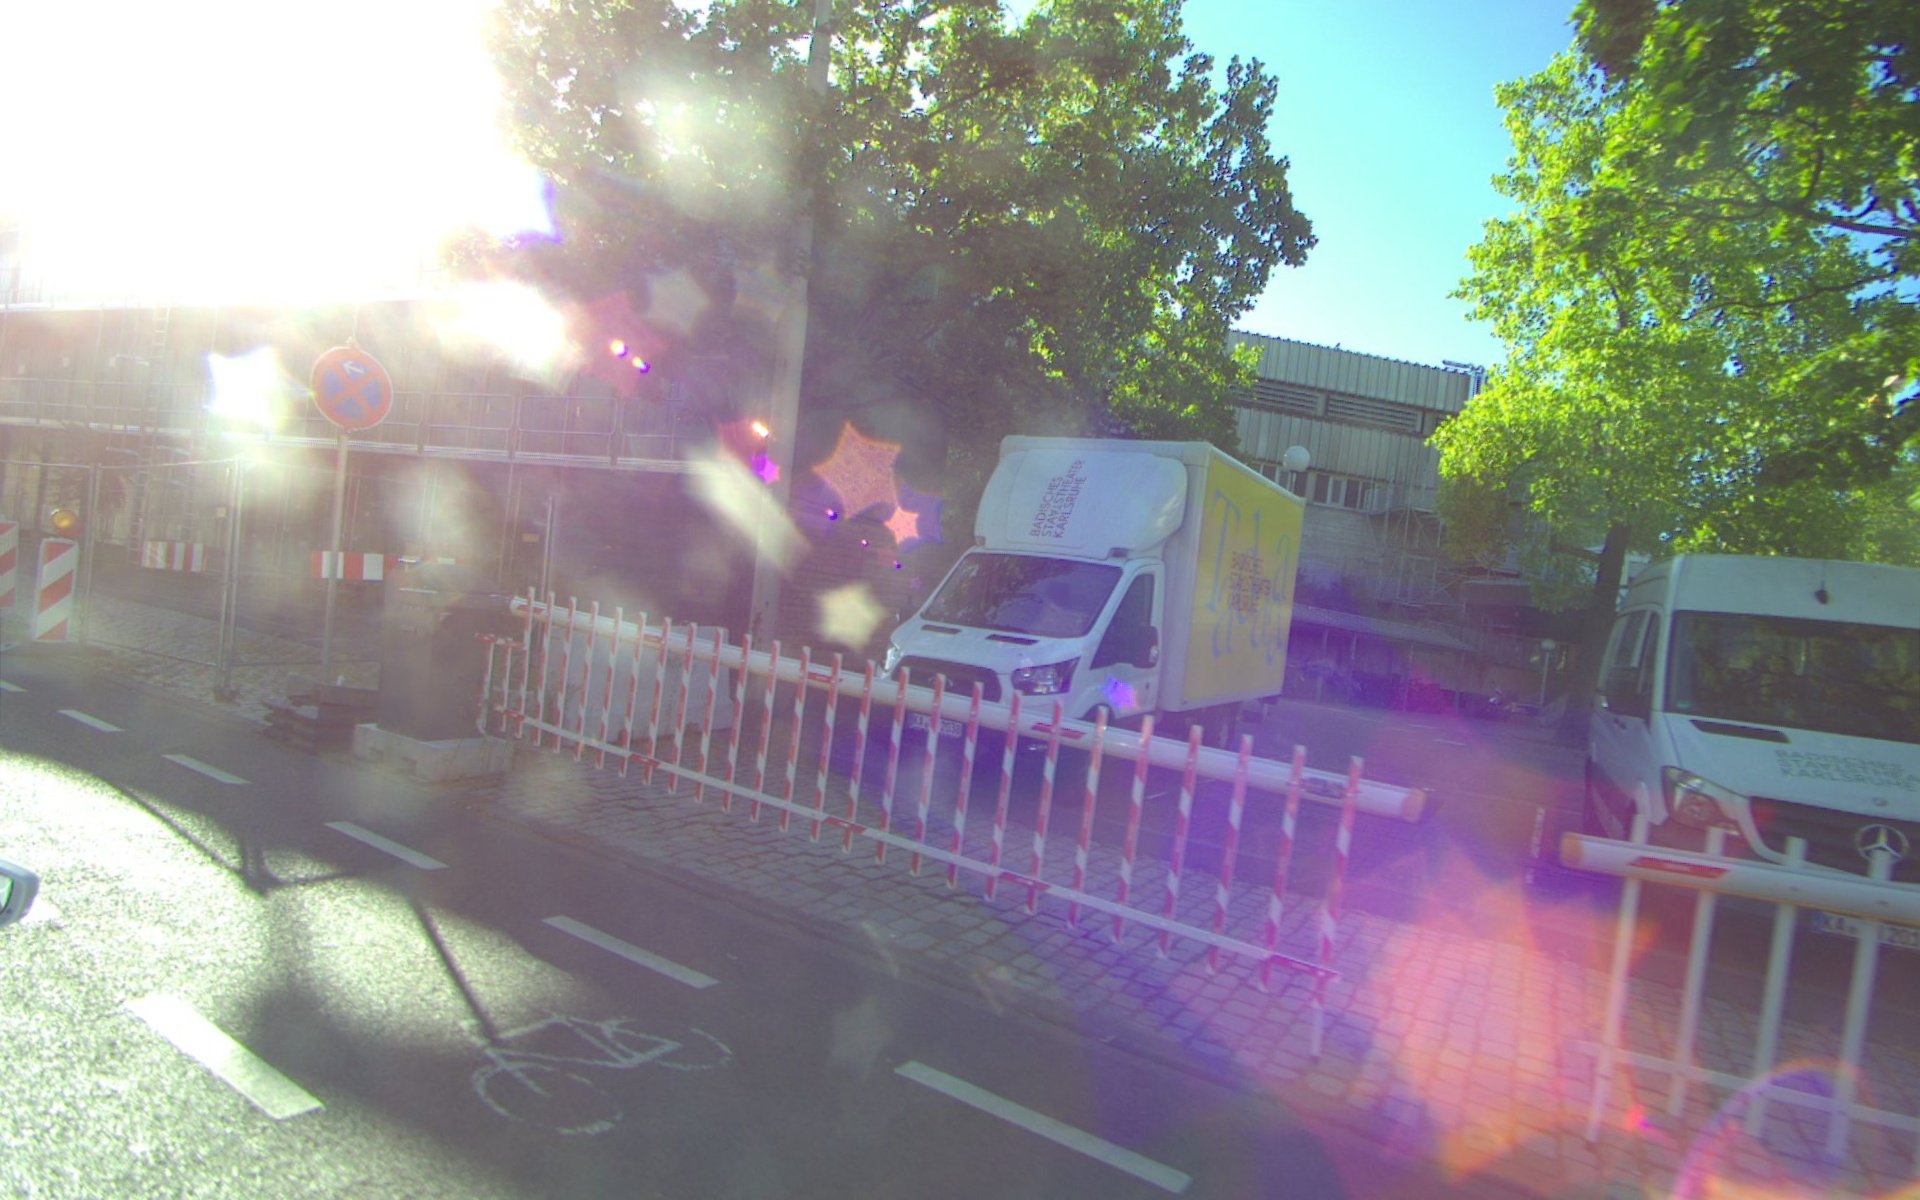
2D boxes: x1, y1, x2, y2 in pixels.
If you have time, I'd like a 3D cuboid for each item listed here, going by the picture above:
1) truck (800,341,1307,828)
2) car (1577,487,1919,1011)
[{"bbox_3d":[1.613,-0.009,10.772,2.331,3.461,7.083,6,0,30],"label":"truck"},{"bbox_3d":[5.993,0.950,7.510,1.980,2.593,5.331,6,-1,30],"label":"car"}]
